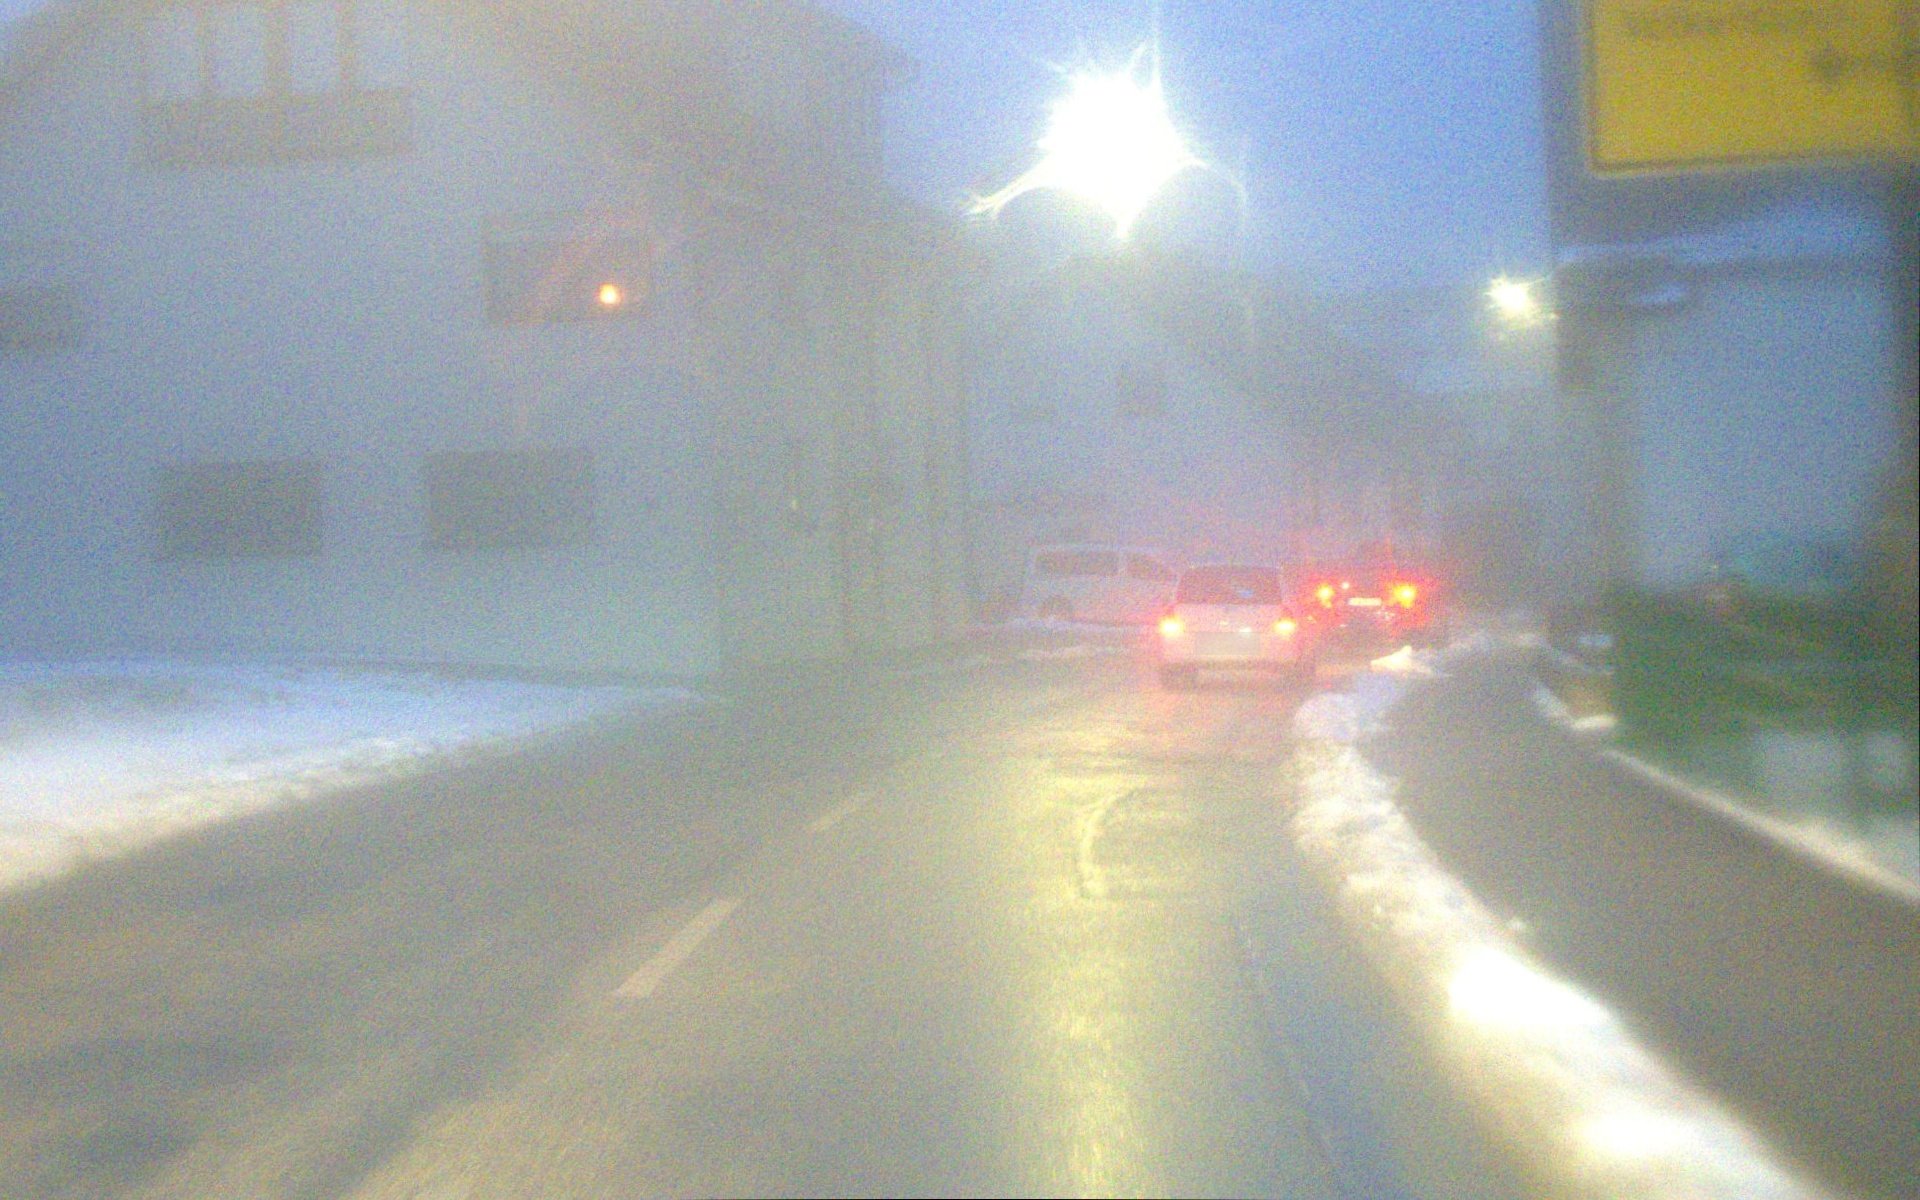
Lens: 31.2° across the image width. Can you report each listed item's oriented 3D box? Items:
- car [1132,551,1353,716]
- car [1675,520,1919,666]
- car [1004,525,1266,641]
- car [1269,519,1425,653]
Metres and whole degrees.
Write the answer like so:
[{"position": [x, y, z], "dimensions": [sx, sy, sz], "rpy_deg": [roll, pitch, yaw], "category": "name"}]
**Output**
[{"position": [3.282, 0.345, 39.256], "dimensions": [1.994, 1.502, 3.999], "rpy_deg": [-3, 3, 11], "category": "car"}, {"position": [9.818, -0.086, 37.144], "dimensions": [3.988, 1.448, 1.714], "rpy_deg": [1, 3, 9], "category": "car"}, {"position": [3.499, -0.338, 68.889], "dimensions": [4.738, 2.006, 1.998], "rpy_deg": [-2, 3, 25], "category": "car"}, {"position": [6.282, -0.265, 55.440], "dimensions": [1.994, 1.831, 3.999], "rpy_deg": [-3, 3, 13], "category": "car"}]
